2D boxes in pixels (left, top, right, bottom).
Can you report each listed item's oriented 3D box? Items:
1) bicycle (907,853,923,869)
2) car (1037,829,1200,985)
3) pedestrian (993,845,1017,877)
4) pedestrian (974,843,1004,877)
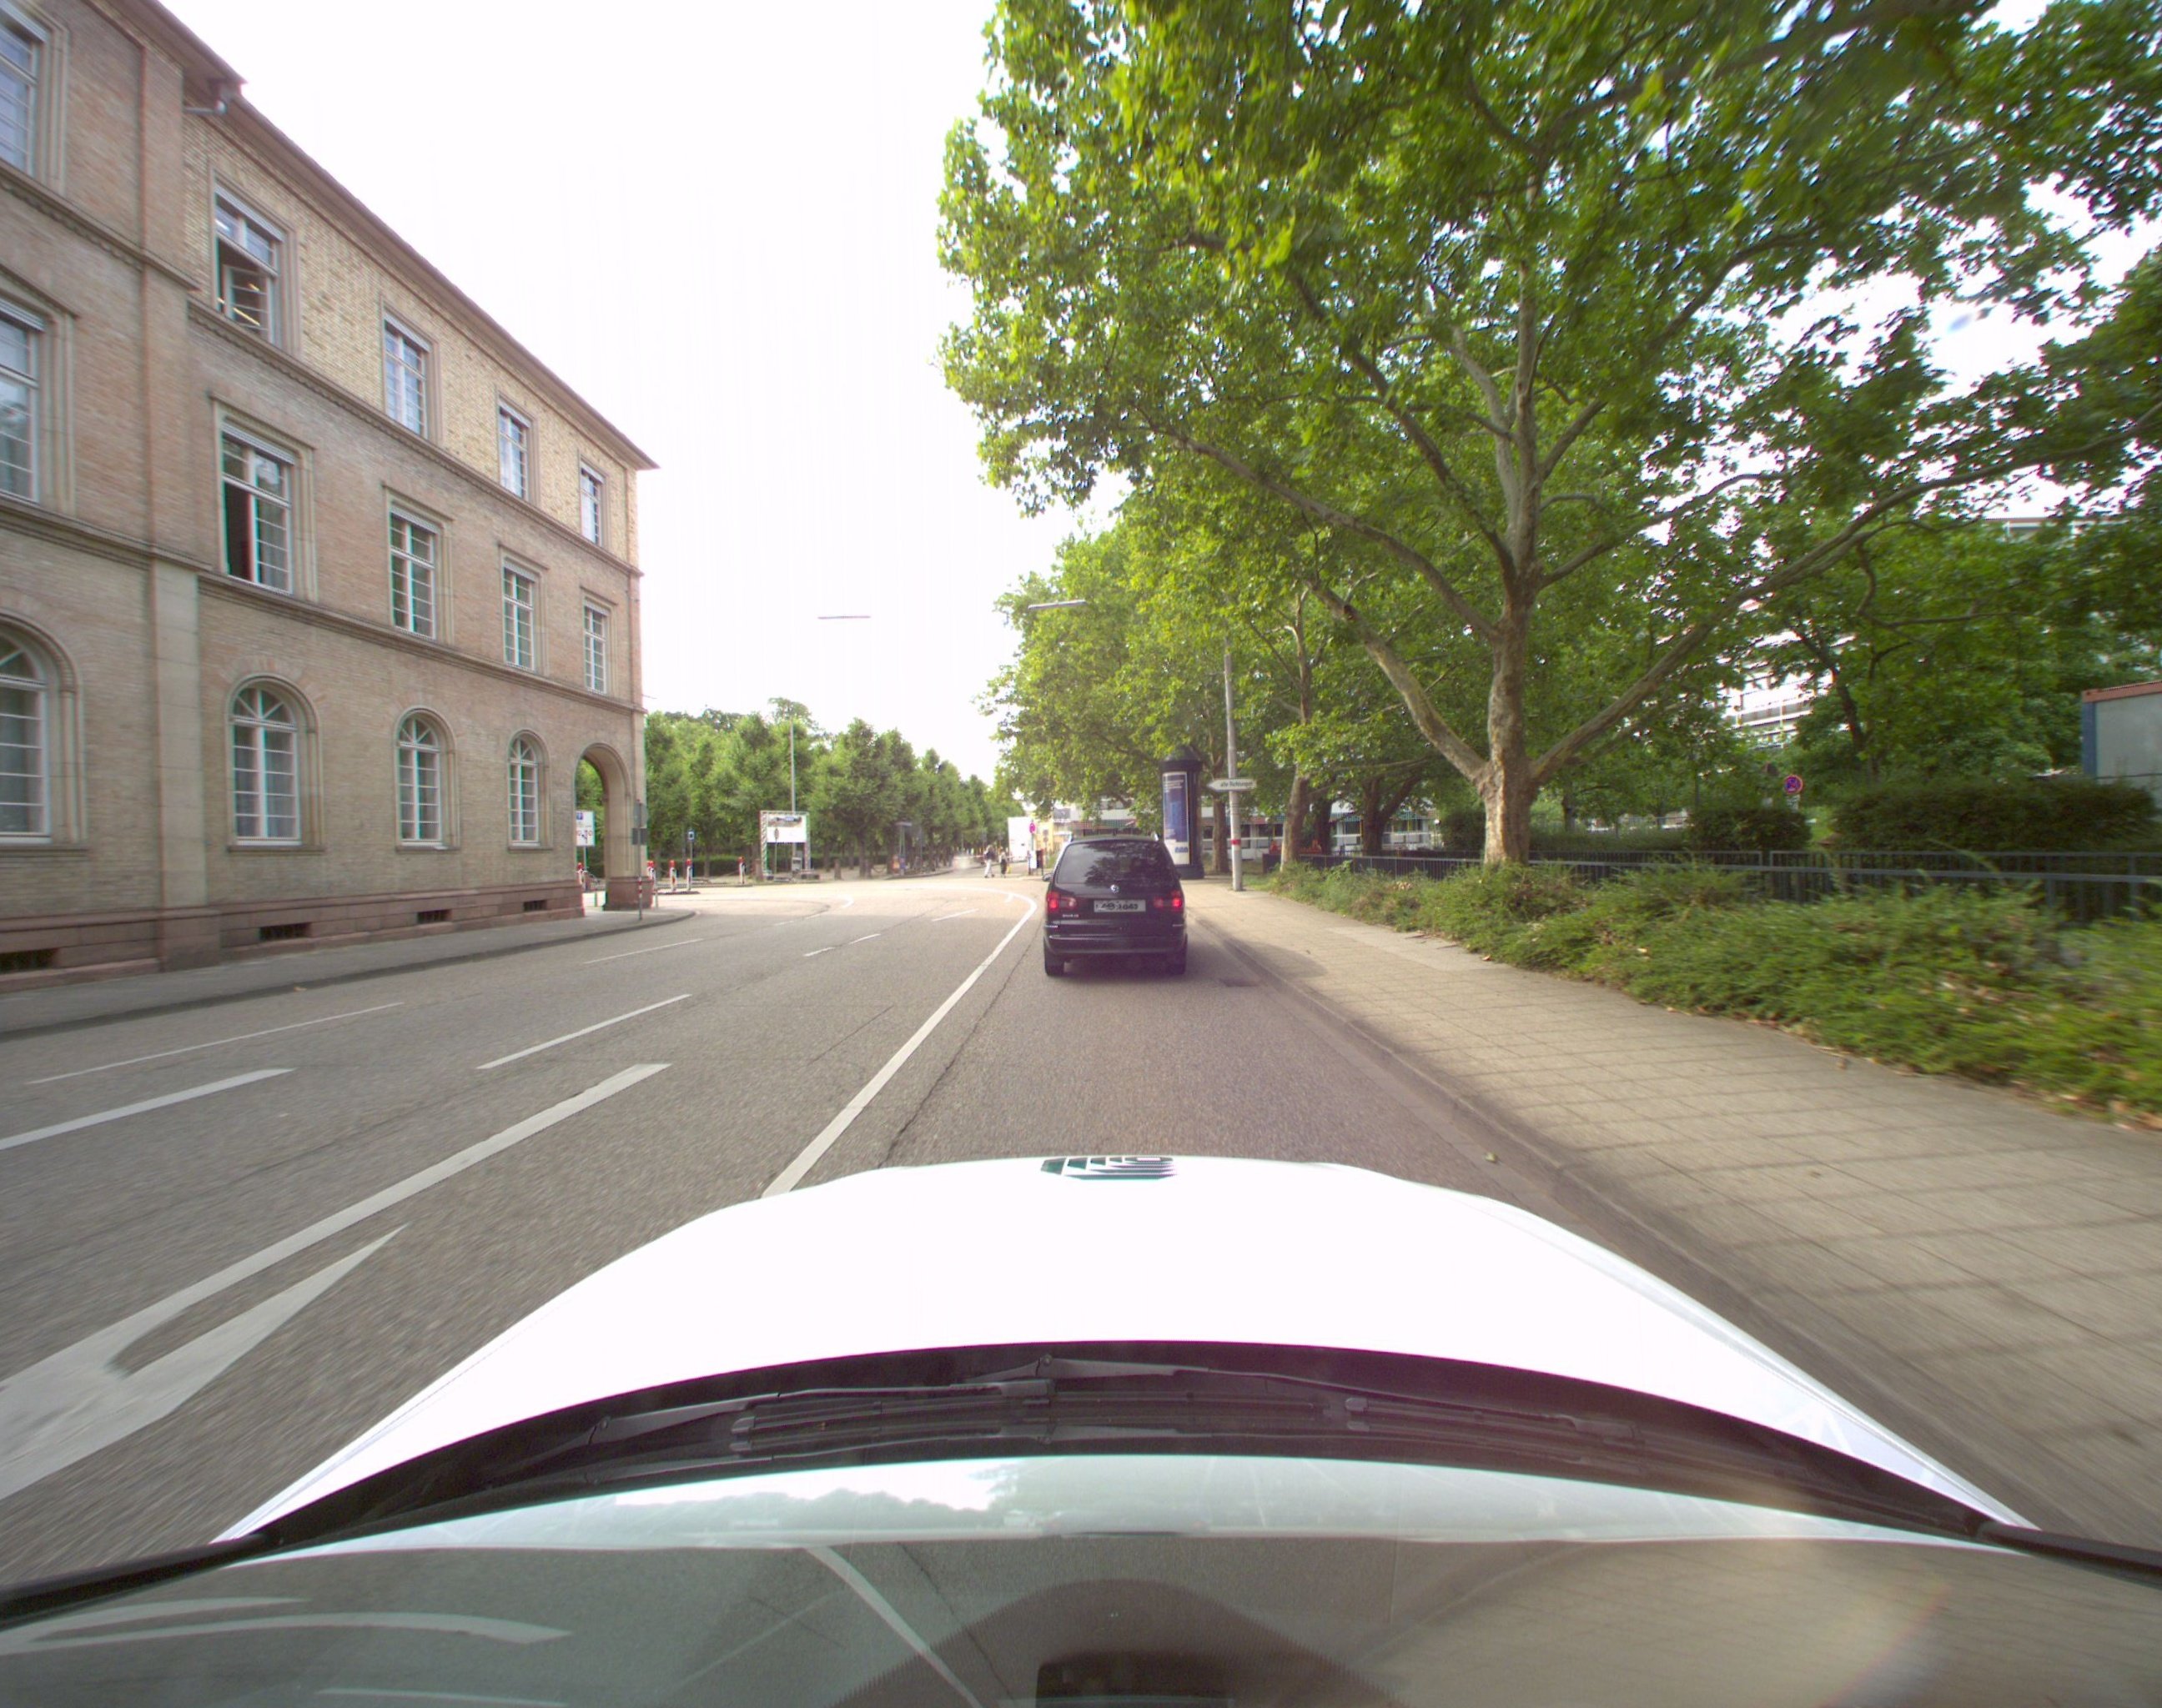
[{"bbox_3d":[-12.023,0.467,58.867,0.954,1.110,2.565,0,1,-17],"label":"bicycle"},{"bbox_3d":[0.443,0.577,11.279,1.787,1.708,4.131,-2,1,0],"label":"car"},{"bbox_3d":[-3.920,0.340,42.222,0.887,1.641,0.858,0,1,36],"label":"pedestrian"},{"bbox_3d":[-4.818,0.309,42.579,0.951,1.741,1.264,0,1,39],"label":"pedestrian"}]
